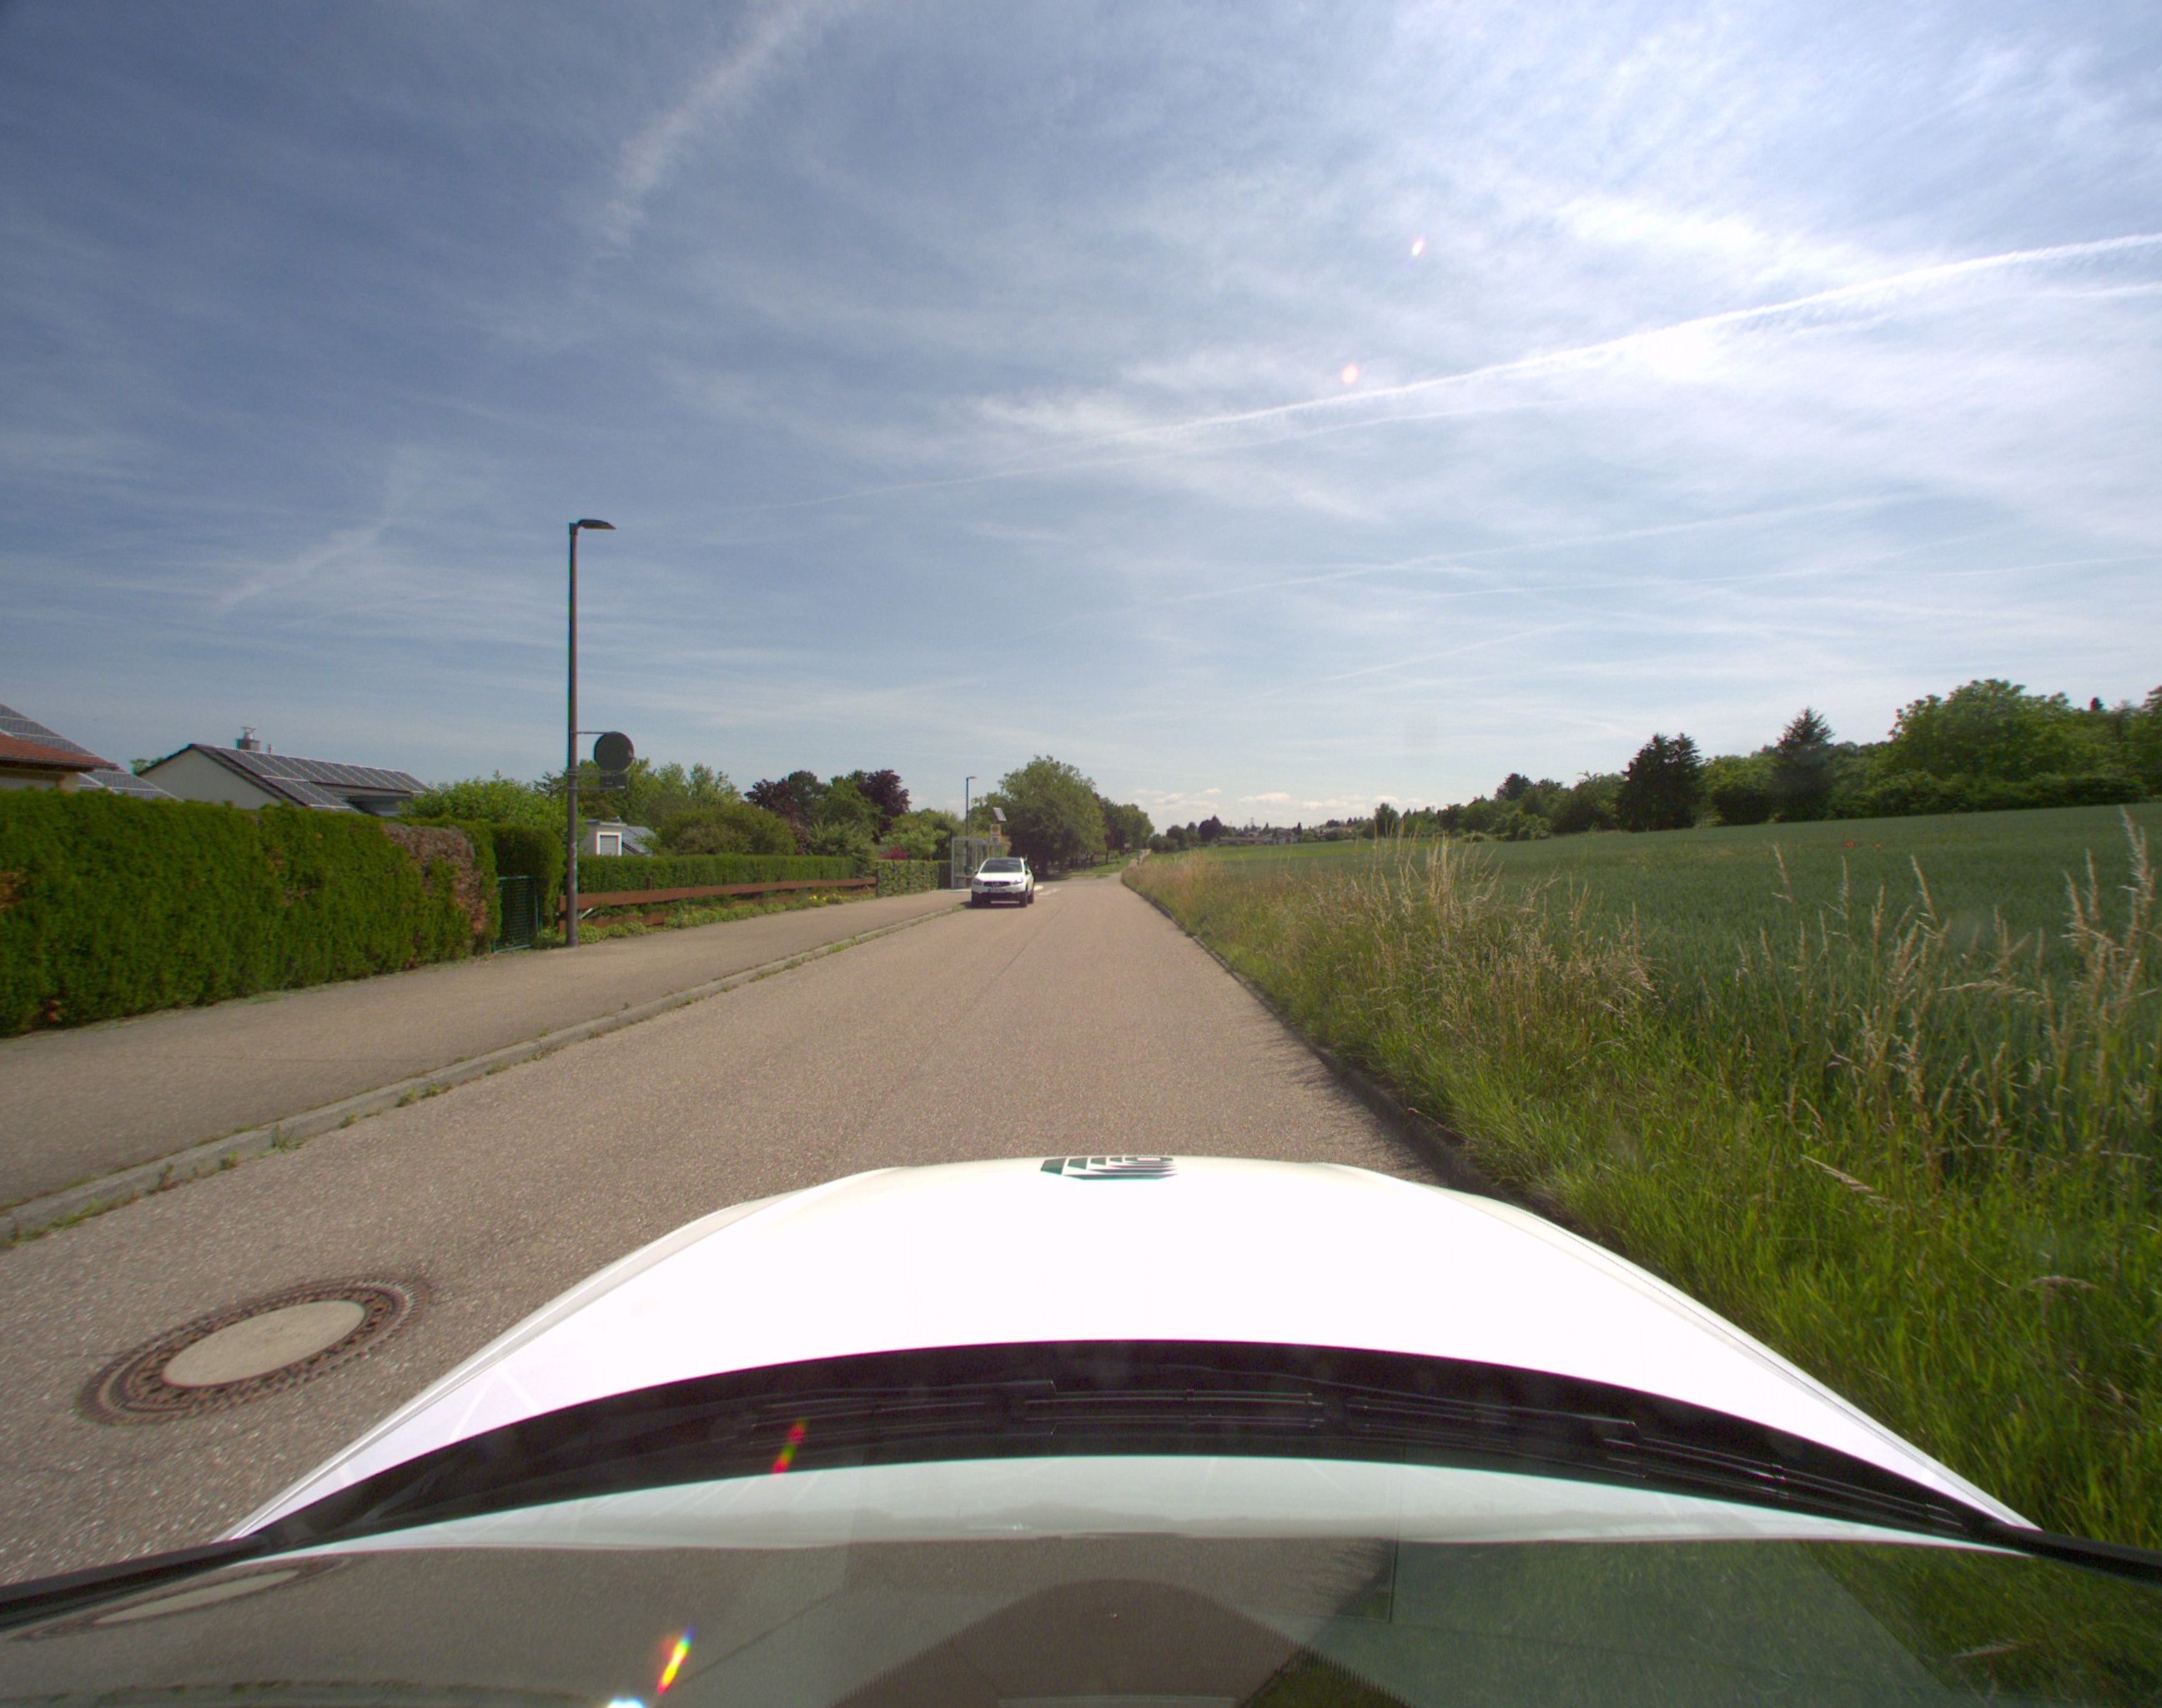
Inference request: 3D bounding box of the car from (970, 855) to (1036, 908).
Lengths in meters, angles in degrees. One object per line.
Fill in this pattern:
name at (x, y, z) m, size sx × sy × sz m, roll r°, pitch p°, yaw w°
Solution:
car at (-2.561, 0.905, 27.665) m, size 1.728 × 1.633 × 4.352 m, roll -1°, pitch -1°, yaw 1°
